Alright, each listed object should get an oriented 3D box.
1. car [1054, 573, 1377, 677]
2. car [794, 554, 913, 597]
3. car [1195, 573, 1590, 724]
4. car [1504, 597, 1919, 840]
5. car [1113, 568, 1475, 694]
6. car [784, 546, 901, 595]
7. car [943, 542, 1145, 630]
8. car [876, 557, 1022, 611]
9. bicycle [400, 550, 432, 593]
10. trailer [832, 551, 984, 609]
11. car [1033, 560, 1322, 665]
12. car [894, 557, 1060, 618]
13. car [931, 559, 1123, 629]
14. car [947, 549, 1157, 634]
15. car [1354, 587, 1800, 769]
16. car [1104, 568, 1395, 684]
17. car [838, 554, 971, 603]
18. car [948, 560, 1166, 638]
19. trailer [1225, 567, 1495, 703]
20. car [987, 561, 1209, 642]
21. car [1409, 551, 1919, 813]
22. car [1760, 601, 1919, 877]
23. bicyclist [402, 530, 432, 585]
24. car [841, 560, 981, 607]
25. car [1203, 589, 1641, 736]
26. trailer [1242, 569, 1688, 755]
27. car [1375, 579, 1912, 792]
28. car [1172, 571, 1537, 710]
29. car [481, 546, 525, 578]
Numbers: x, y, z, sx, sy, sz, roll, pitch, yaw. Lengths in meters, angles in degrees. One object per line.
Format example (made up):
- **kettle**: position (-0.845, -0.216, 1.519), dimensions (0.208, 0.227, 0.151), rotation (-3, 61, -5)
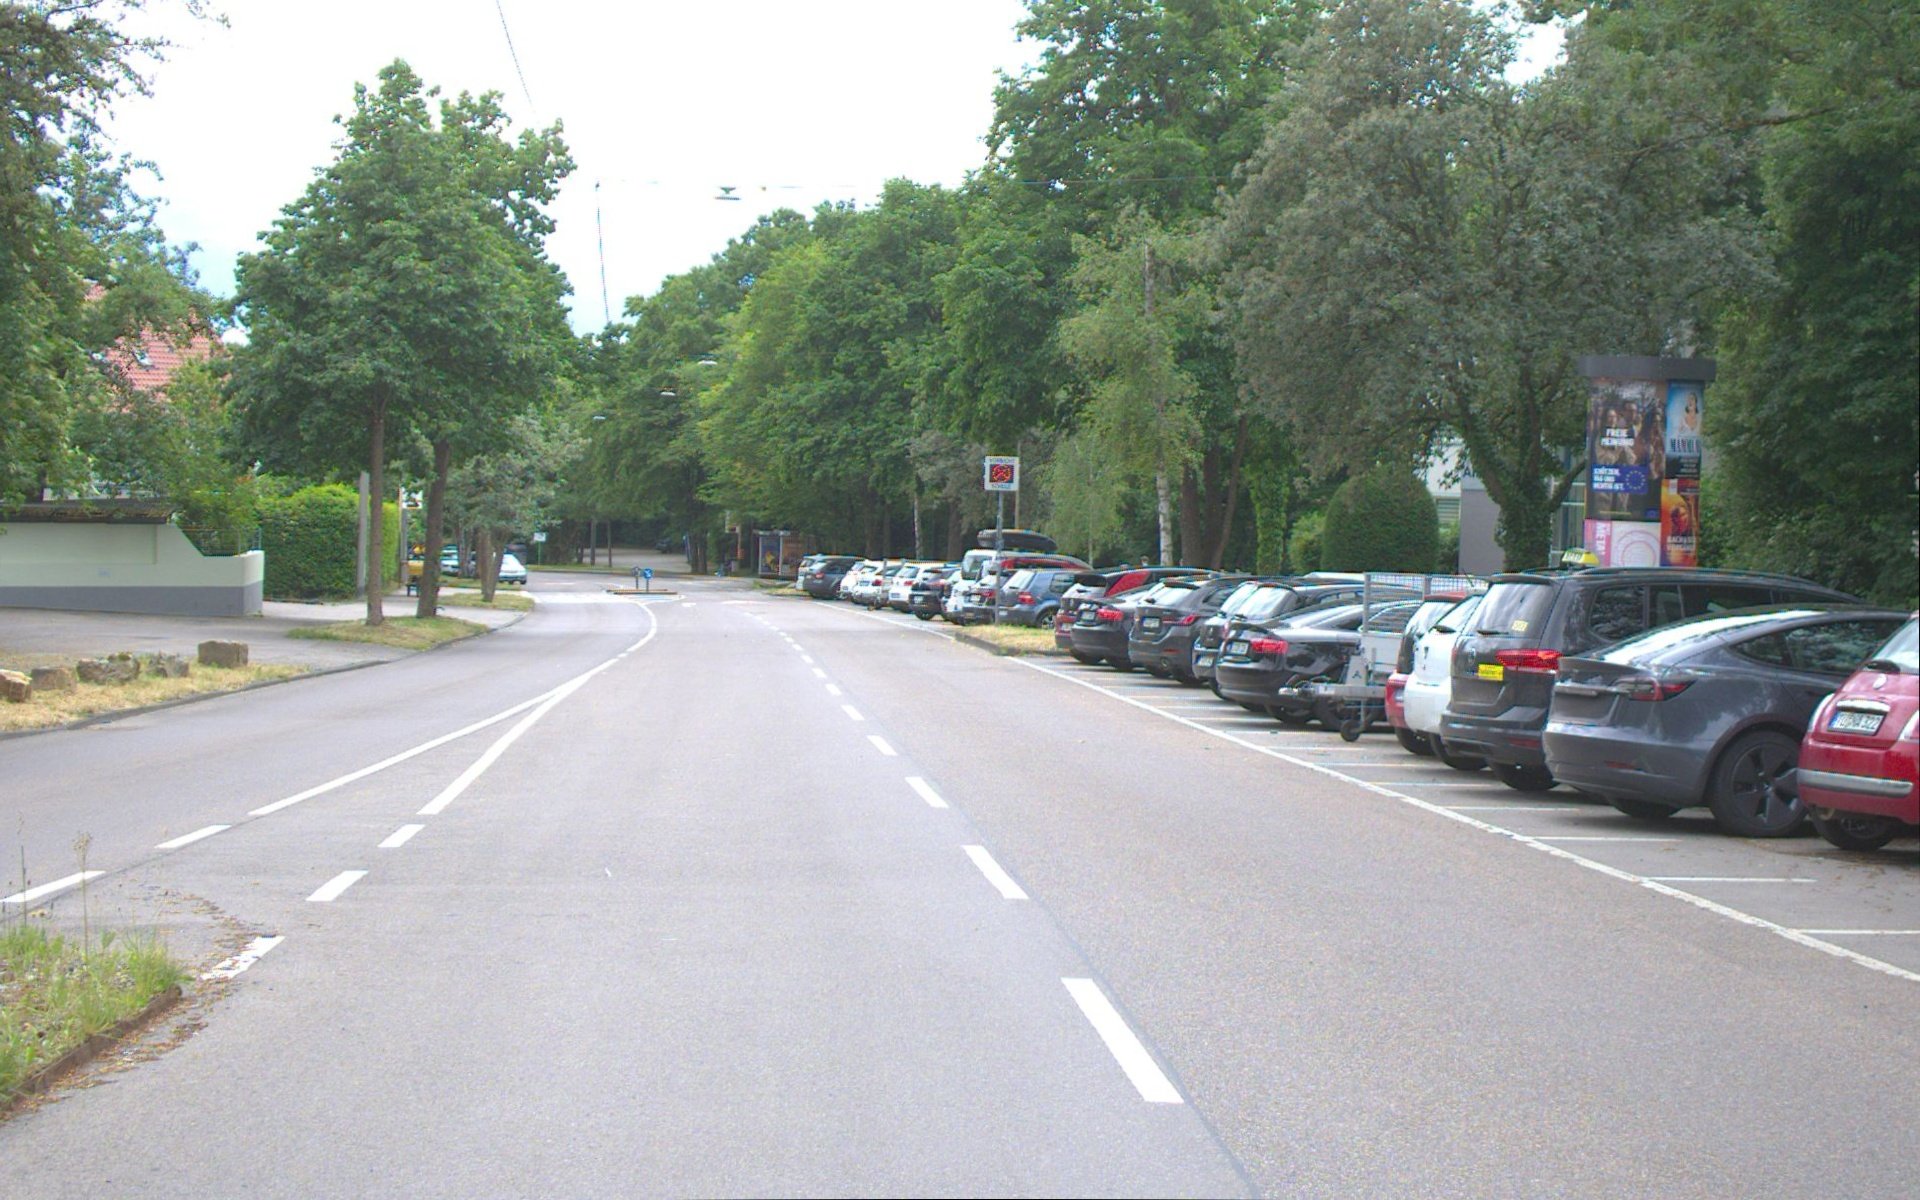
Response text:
- **car**: position (3.709, 0.361, 50.098), dimensions (4.311, 1.336, 1.734), rotation (2, 0, -17)
- **car**: position (-3.841, -0.891, 124.016), dimensions (3.883, 1.424, 1.744), rotation (2, 1, -23)
- **car**: position (4.703, 0.521, 37.452), dimensions (3.910, 1.481, 1.619), rotation (2, 1, -19)
- **car**: position (5.759, 0.759, 21.885), dimensions (4.158, 1.402, 1.698), rotation (2, 0, -14)
- **car**: position (4.334, 0.403, 44.665), dimensions (4.343, 1.440, 1.635), rotation (2, 1, -18)
- **car**: position (-4.329, -1.083, 126.778), dimensions (3.883, 1.662, 1.744), rotation (2, 1, -23)
- **car**: position (1.866, -0.303, 76.217), dimensions (4.085, 1.748, 1.787), rotation (2, 1, -30)
- **car**: position (-0.322, -0.476, 100.963), dimensions (3.883, 1.444, 1.744), rotation (2, 1, -25)
- **bicycle**: position (-17.013, -0.893, 107.577), dimensions (0.844, 1.262, 2.652), rotation (2, 1, -7)
- **trailer**: position (-1.569, -0.592, 103.066), dimensions (4.153, 1.568, 1.712), rotation (2, 0, -23)
- **car**: position (3.347, 0.196, 52.925), dimensions (4.070, 1.510, 1.734), rotation (1, 1, -26)
- **car**: position (0.453, -0.320, 89.849), dimensions (3.884, 1.444, 1.844), rotation (2, 1, -27)
- **car**: position (1.550, -0.144, 79.602), dimensions (3.965, 1.444, 1.919), rotation (2, 0, -19)
- **car**: position (1.961, -0.182, 73.420), dimensions (3.995, 1.614, 1.885), rotation (2, 1, -20)
- **car**: position (5.325, 0.668, 29.772), dimensions (3.423, 1.440, 1.560), rotation (2, 0, -15)
- **car**: position (3.992, 0.353, 47.540), dimensions (3.609, 1.440, 1.634), rotation (2, 1, -19)
- **car**: position (-1.799, -0.699, 111.543), dimensions (3.883, 1.424, 1.744), rotation (2, 1, -23)
- **car**: position (1.986, -0.029, 70.274), dimensions (4.026, 1.400, 1.757), rotation (2, 1, -21)
- **trailer**: position (4.932, 0.427, 42.499), dimensions (2.985, 1.537, 1.304), rotation (2, 1, -16)
- **car**: position (2.730, 0.035, 68.038), dimensions (3.963, 1.400, 1.757), rotation (2, 1, -18)
- **car**: position (5.407, 0.577, 24.518), dimensions (3.984, 1.719, 1.681), rotation (2, 0, -13)
- **car**: position (6.514, 0.801, 19.709), dimensions (3.325, 1.459, 1.635), rotation (2, 0, -13)
- **bicyclist**: position (-17.005, -1.335, 107.664), dimensions (0.844, 1.691, 0.714), rotation (2, 1, -6)
- **car**: position (-1.497, -0.511, 105.765), dimensions (3.884, 1.305, 1.744), rotation (2, 1, -28)
- **car**: position (4.620, 0.623, 34.563), dimensions (4.035, 1.323, 1.560), rotation (2, 0, -12)
- **trailer**: position (4.675, 0.565, 31.965), dimensions (3.687, 1.530, 1.646), rotation (2, 1, -15)
- **car**: position (5.379, 0.662, 27.281), dimensions (3.820, 1.524, 1.606), rotation (2, 0, -7)
- **car**: position (4.577, 0.464, 40.020), dimensions (3.839, 1.450, 1.634), rotation (2, 1, -15)
- **car**: position (-21.946, -1.842, 164.963), dimensions (1.866, 1.466, 4.001), rotation (1, 1, -11)
